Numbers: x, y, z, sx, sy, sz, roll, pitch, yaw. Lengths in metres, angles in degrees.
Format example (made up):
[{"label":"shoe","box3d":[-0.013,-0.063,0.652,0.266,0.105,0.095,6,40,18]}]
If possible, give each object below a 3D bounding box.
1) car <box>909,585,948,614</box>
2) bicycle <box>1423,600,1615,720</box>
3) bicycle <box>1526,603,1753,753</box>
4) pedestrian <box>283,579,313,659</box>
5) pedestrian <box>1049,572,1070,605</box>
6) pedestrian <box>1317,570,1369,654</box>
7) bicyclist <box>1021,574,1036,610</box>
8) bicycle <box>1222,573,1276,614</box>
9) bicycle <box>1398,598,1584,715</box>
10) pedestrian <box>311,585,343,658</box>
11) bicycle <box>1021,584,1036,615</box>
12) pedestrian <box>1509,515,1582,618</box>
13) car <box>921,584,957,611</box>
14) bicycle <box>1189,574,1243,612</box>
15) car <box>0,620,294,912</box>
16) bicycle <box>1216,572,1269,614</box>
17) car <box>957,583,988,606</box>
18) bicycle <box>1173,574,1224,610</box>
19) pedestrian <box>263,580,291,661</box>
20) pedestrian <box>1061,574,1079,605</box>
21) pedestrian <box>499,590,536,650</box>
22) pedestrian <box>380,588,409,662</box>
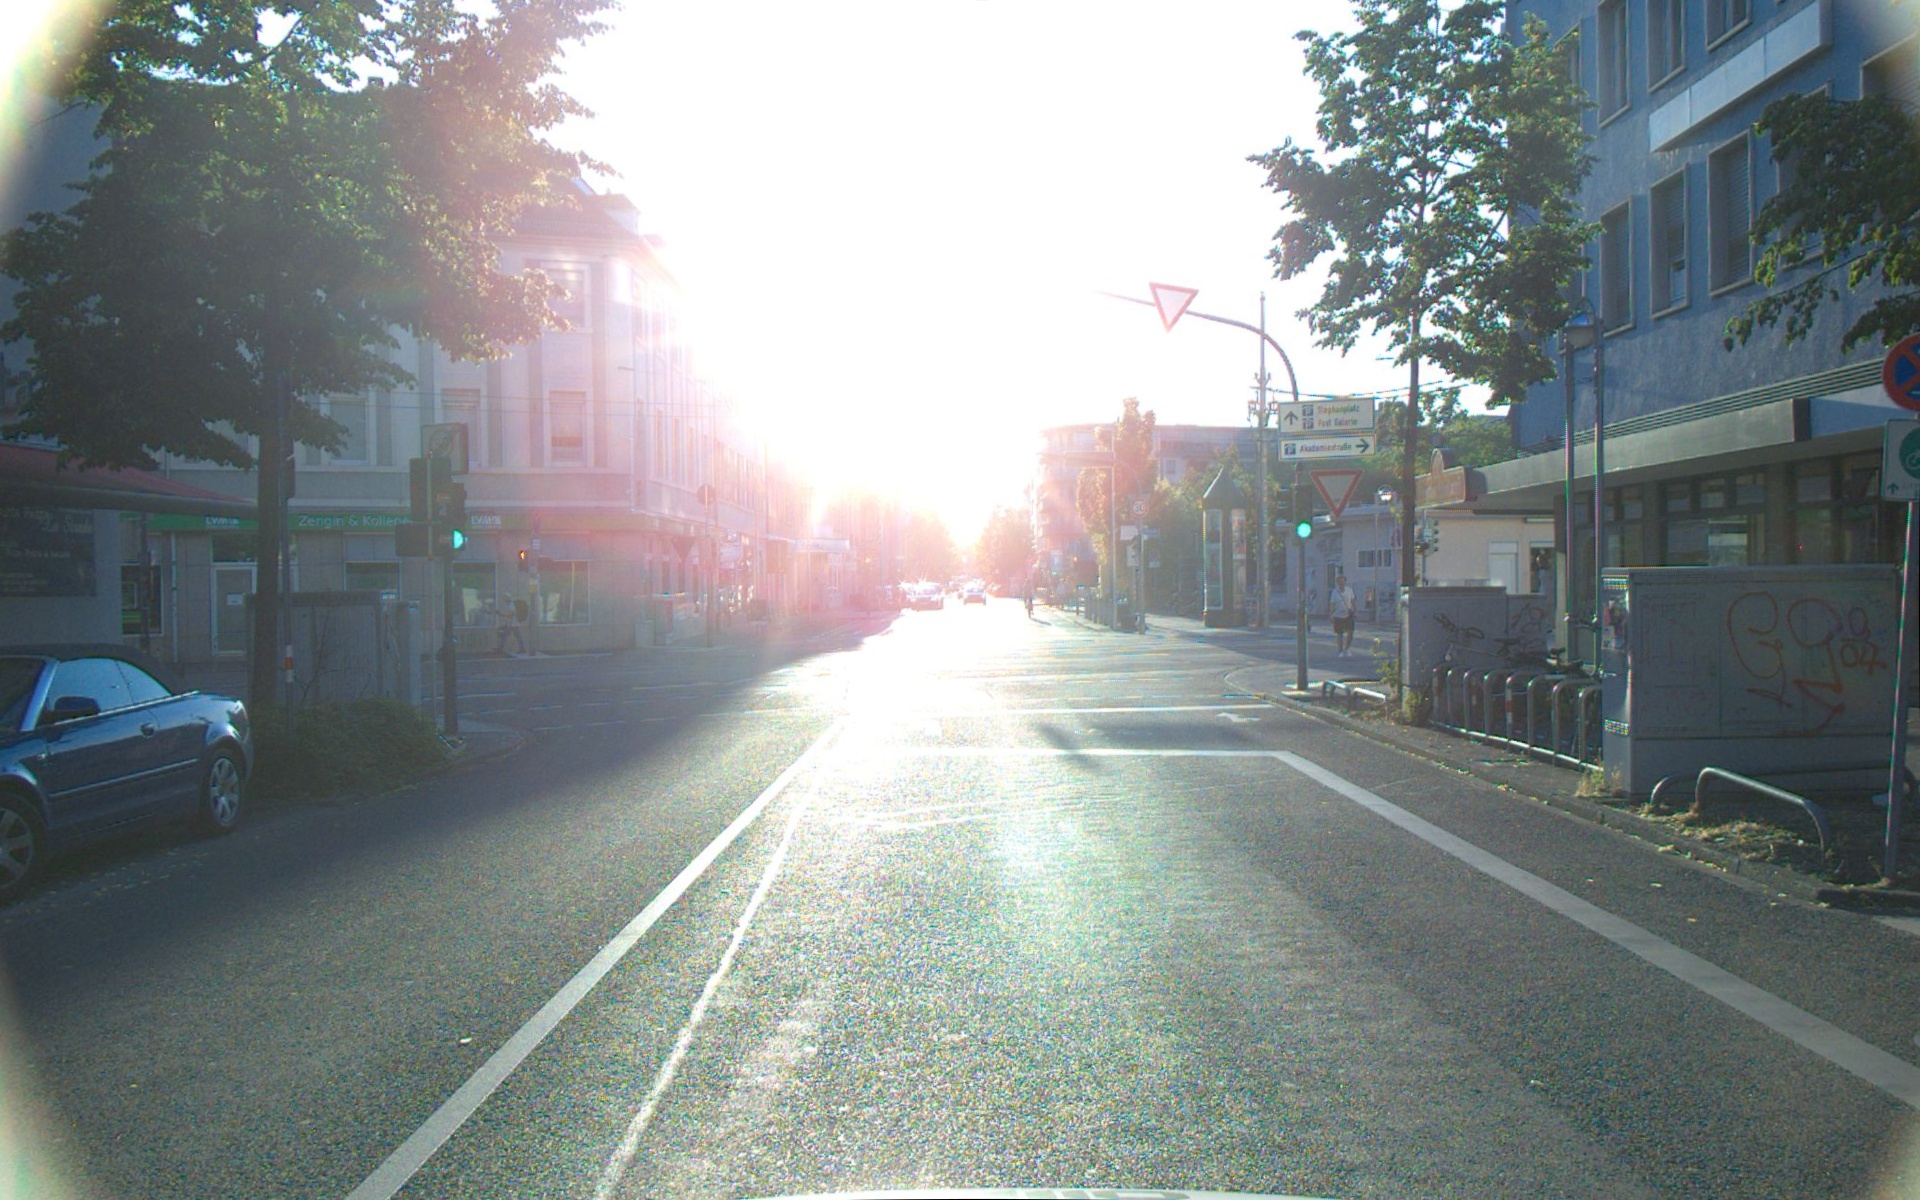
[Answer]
[{"label":"car","box3d":[-1.940,-0.046,104.066,2.256,1.707,5.533,-1,1,1]},{"label":"bicycle","box3d":[5.968,0.630,17.699,1.873,1.224,0.470,-1,0,2]},{"label":"bicycle","box3d":[5.939,0.665,14.465,1.878,1.224,0.469,-1,0,-11]},{"label":"pedestrian","box3d":[-16.437,0.461,41.056,0.524,1.962,0.632,-2,0,-35]},{"label":"pedestrian","box3d":[6.058,-0.690,100.958,0.971,1.991,0.806,-2,0,27]},{"label":"pedestrian","box3d":[8.221,0.251,35.495,0.788,1.756,0.992,-3,-1,28]},{"label":"bicyclist","box3d":[3.314,-0.392,80.187,0.664,1.737,0.669,-1,0,2]},{"label":"bicycle","box3d":[11.101,-0.253,63.512,1.944,1.549,0.479,-1,0,1]},{"label":"bicycle","box3d":[5.827,0.618,18.193,1.873,1.224,0.470,-1,0,2]},{"label":"pedestrian","box3d":[-15.687,0.518,41.006,0.687,1.775,0.636,-2,0,-21]},{"label":"bicycle","box3d":[3.329,-0.032,80.213,0.664,1.426,2.230,-1,1,2]},{"label":"pedestrian","box3d":[11.287,-0.646,31.884,0.976,1.919,0.802,-2,-1,-20]},{"label":"car","box3d":[-1.394,-0.179,111.655,2.256,1.707,5.533,-1,1,1]},{"label":"bicycle","box3d":[10.915,-0.289,70.615,2.176,1.549,0.681,-1,0,2]},{"label":"car","box3d":[-5.907,0.915,10.085,1.876,1.410,4.382,-2,1,0]},{"label":"bicycle","box3d":[11.025,-0.276,64.550,1.944,1.549,0.479,-1,0,1]},{"label":"car","box3d":[0.996,-0.428,128.900,2.256,1.707,5.533,-1,1,1]},{"label":"bicycle","box3d":[10.615,-0.360,73.762,2.175,1.549,0.681,-1,0,5]},{"label":"pedestrian","box3d":[-16.761,0.496,40.576,0.490,1.962,0.569,-2,0,-34]},{"label":"pedestrian","box3d":[6.583,-0.645,98.943,0.787,1.817,0.995,-3,-1,15]},{"label":"pedestrian","box3d":[-11.893,0.537,44.404,0.855,1.575,0.695,-2,0,-21]},{"label":"pedestrian","box3d":[-14.214,0.616,41.553,0.636,1.809,0.668,-2,0,-21]}]
